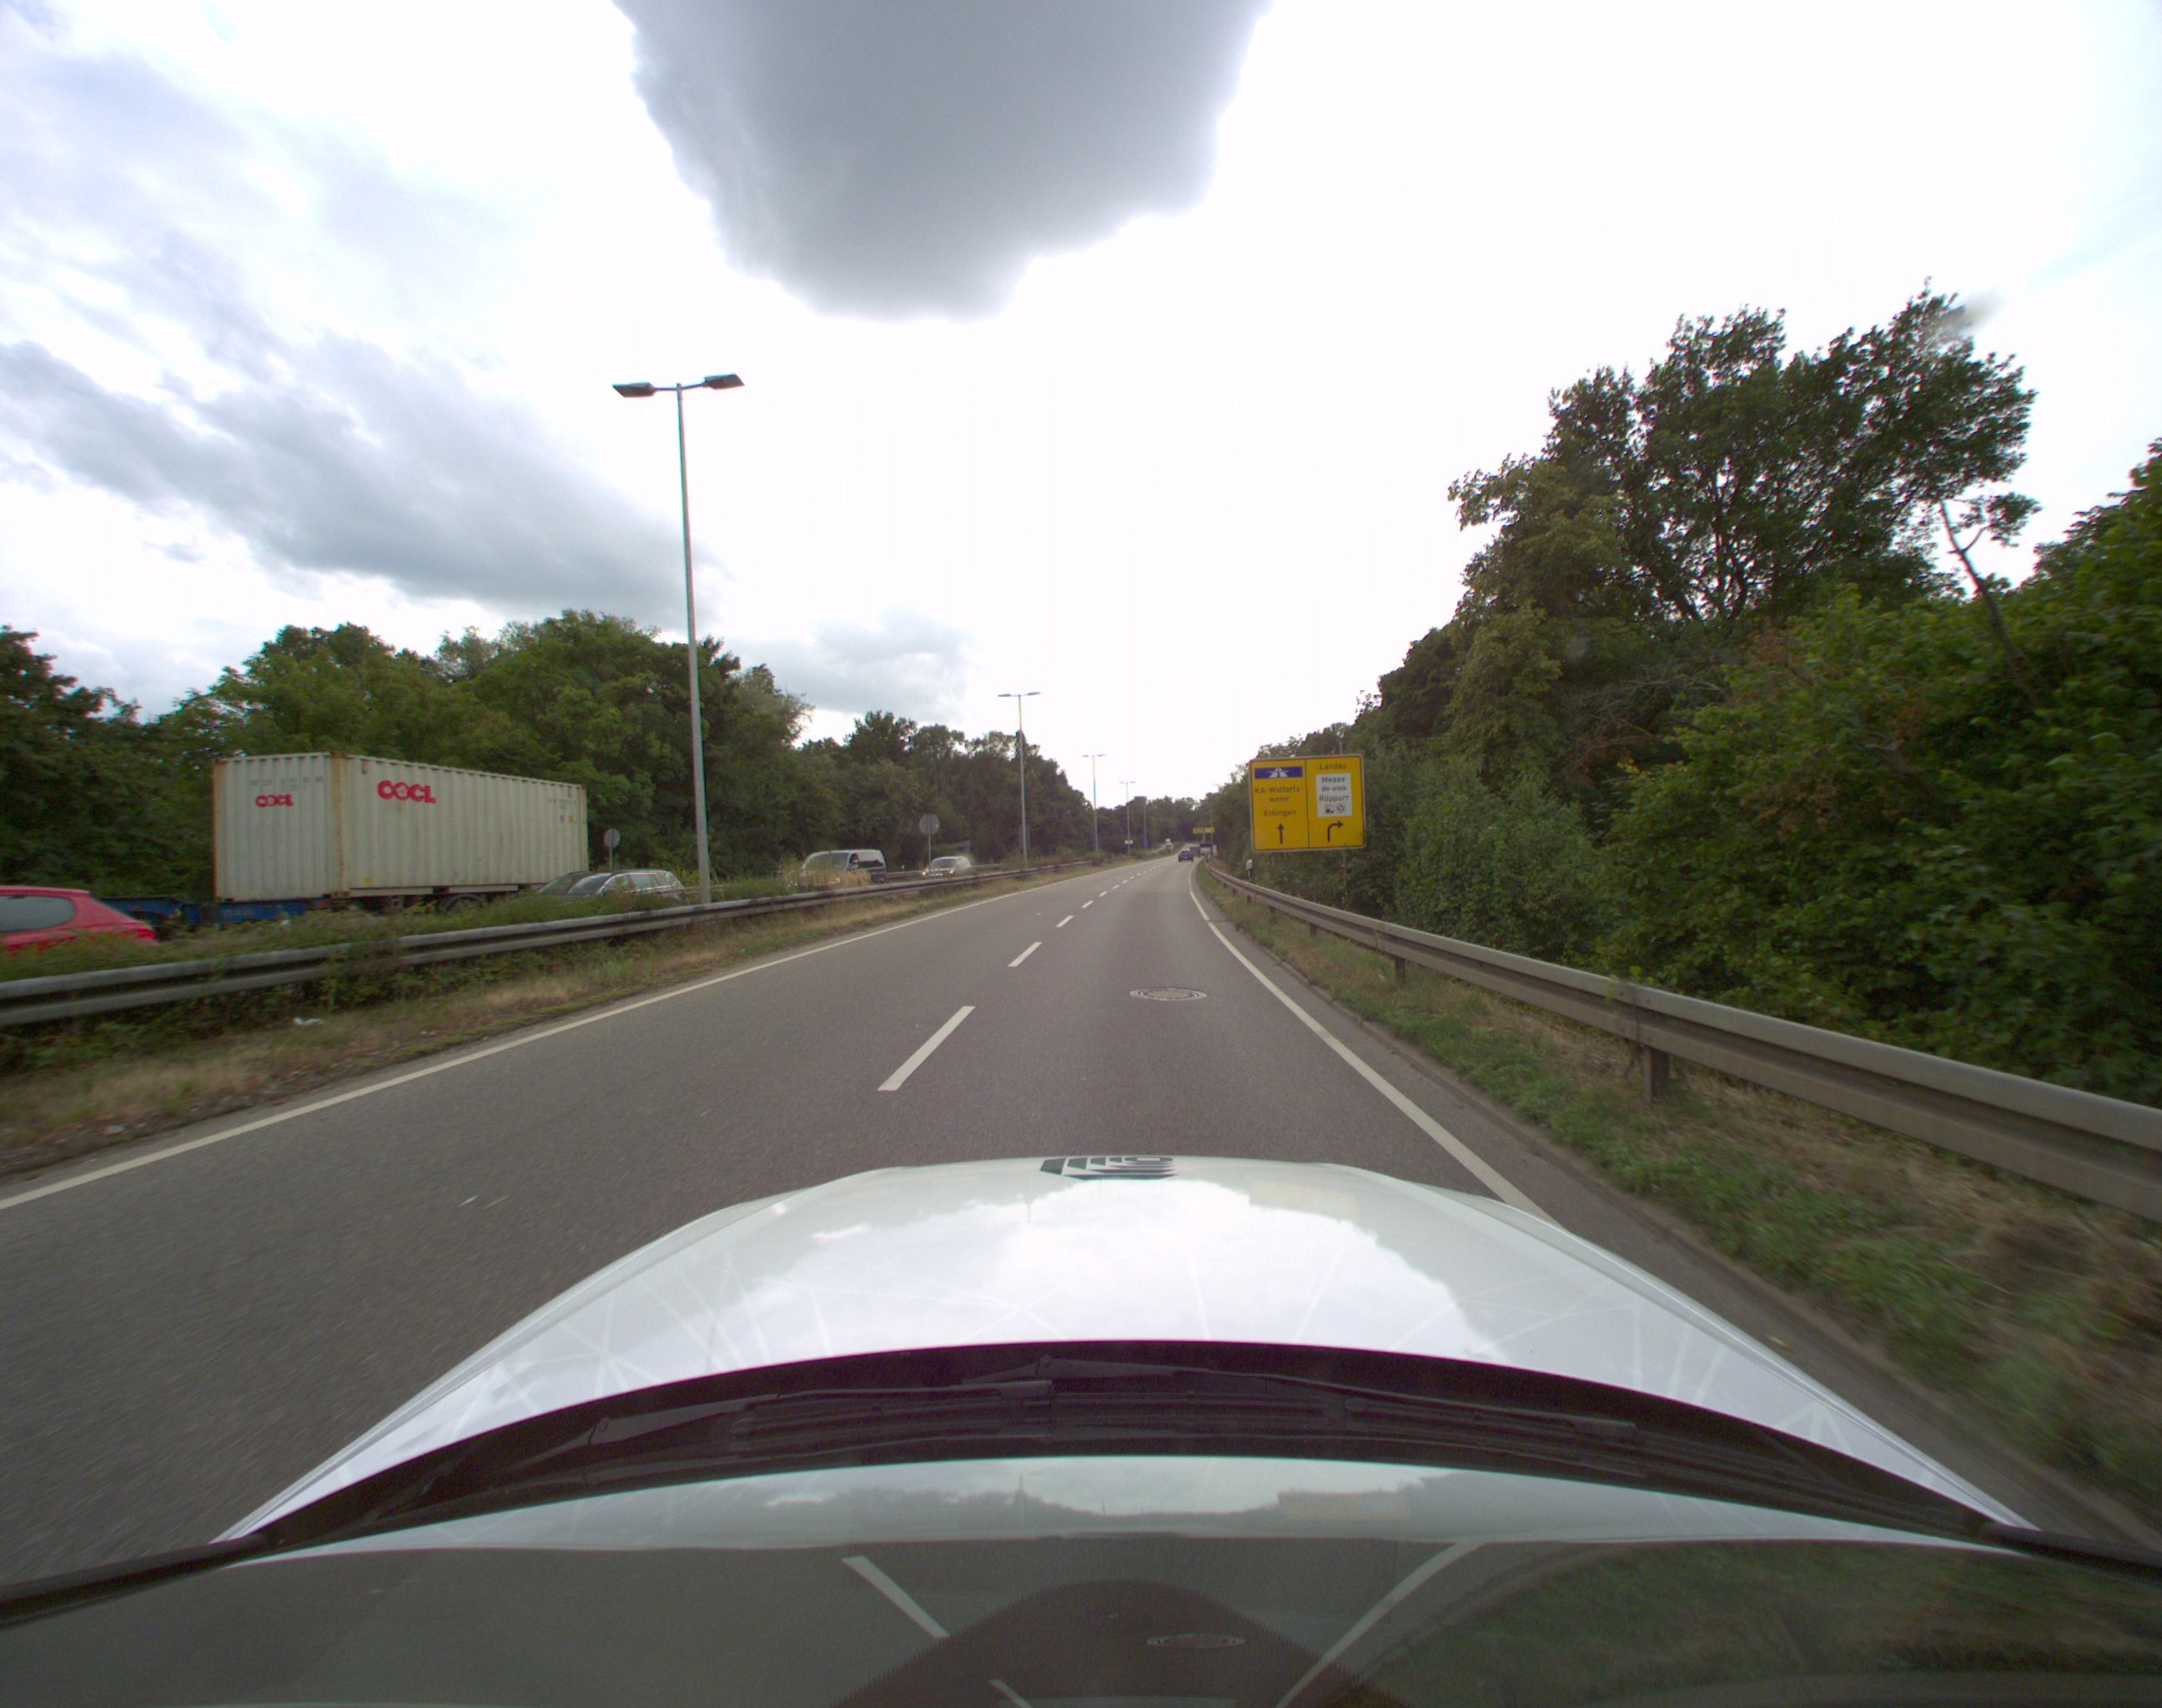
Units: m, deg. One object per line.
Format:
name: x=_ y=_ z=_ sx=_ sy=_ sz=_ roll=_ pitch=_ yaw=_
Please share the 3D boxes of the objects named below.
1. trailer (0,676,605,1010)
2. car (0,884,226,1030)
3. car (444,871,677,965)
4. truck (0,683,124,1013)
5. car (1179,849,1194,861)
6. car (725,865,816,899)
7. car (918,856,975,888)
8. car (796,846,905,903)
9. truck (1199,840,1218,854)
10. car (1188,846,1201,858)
trailer: x=-14.040 y=-0.023 z=15.601 sx=2.522 sy=4.147 sz=10.789 roll=-2 pitch=-1 yaw=6
car: x=-11.748 y=1.075 z=8.172 sx=1.796 sy=1.432 sz=4.130 roll=-2 pitch=-1 yaw=5
car: x=-10.706 y=1.231 z=17.213 sx=1.831 sy=1.667 sz=4.341 roll=-2 pitch=-1 yaw=5
truck: x=-14.808 y=-0.070 z=8.573 sx=2.555 sy=4.084 sz=5.632 roll=-2 pitch=-1 yaw=6
car: x=13.194 y=0.155 z=101.377 sx=1.615 sy=1.377 sz=4.011 roll=-2 pitch=-1 yaw=10
car: x=-12.958 y=1.143 z=34.263 sx=1.809 sy=1.288 sz=4.009 roll=-2 pitch=-1 yaw=8
car: x=-6.810 y=0.920 z=41.537 sx=1.757 sy=1.506 sz=3.948 roll=-2 pitch=-1 yaw=8
car: x=-8.350 y=0.726 z=30.100 sx=1.999 sy=1.863 sz=5.287 roll=-2 pitch=-1 yaw=6
truck: x=28.001 y=-1.421 z=179.054 sx=2.957 sy=2.885 sz=8.025 roll=-2 pitch=-1 yaw=17
car: x=19.836 y=-0.383 z=142.101 sx=2.134 sy=2.014 sz=4.011 roll=-2 pitch=-1 yaw=10
